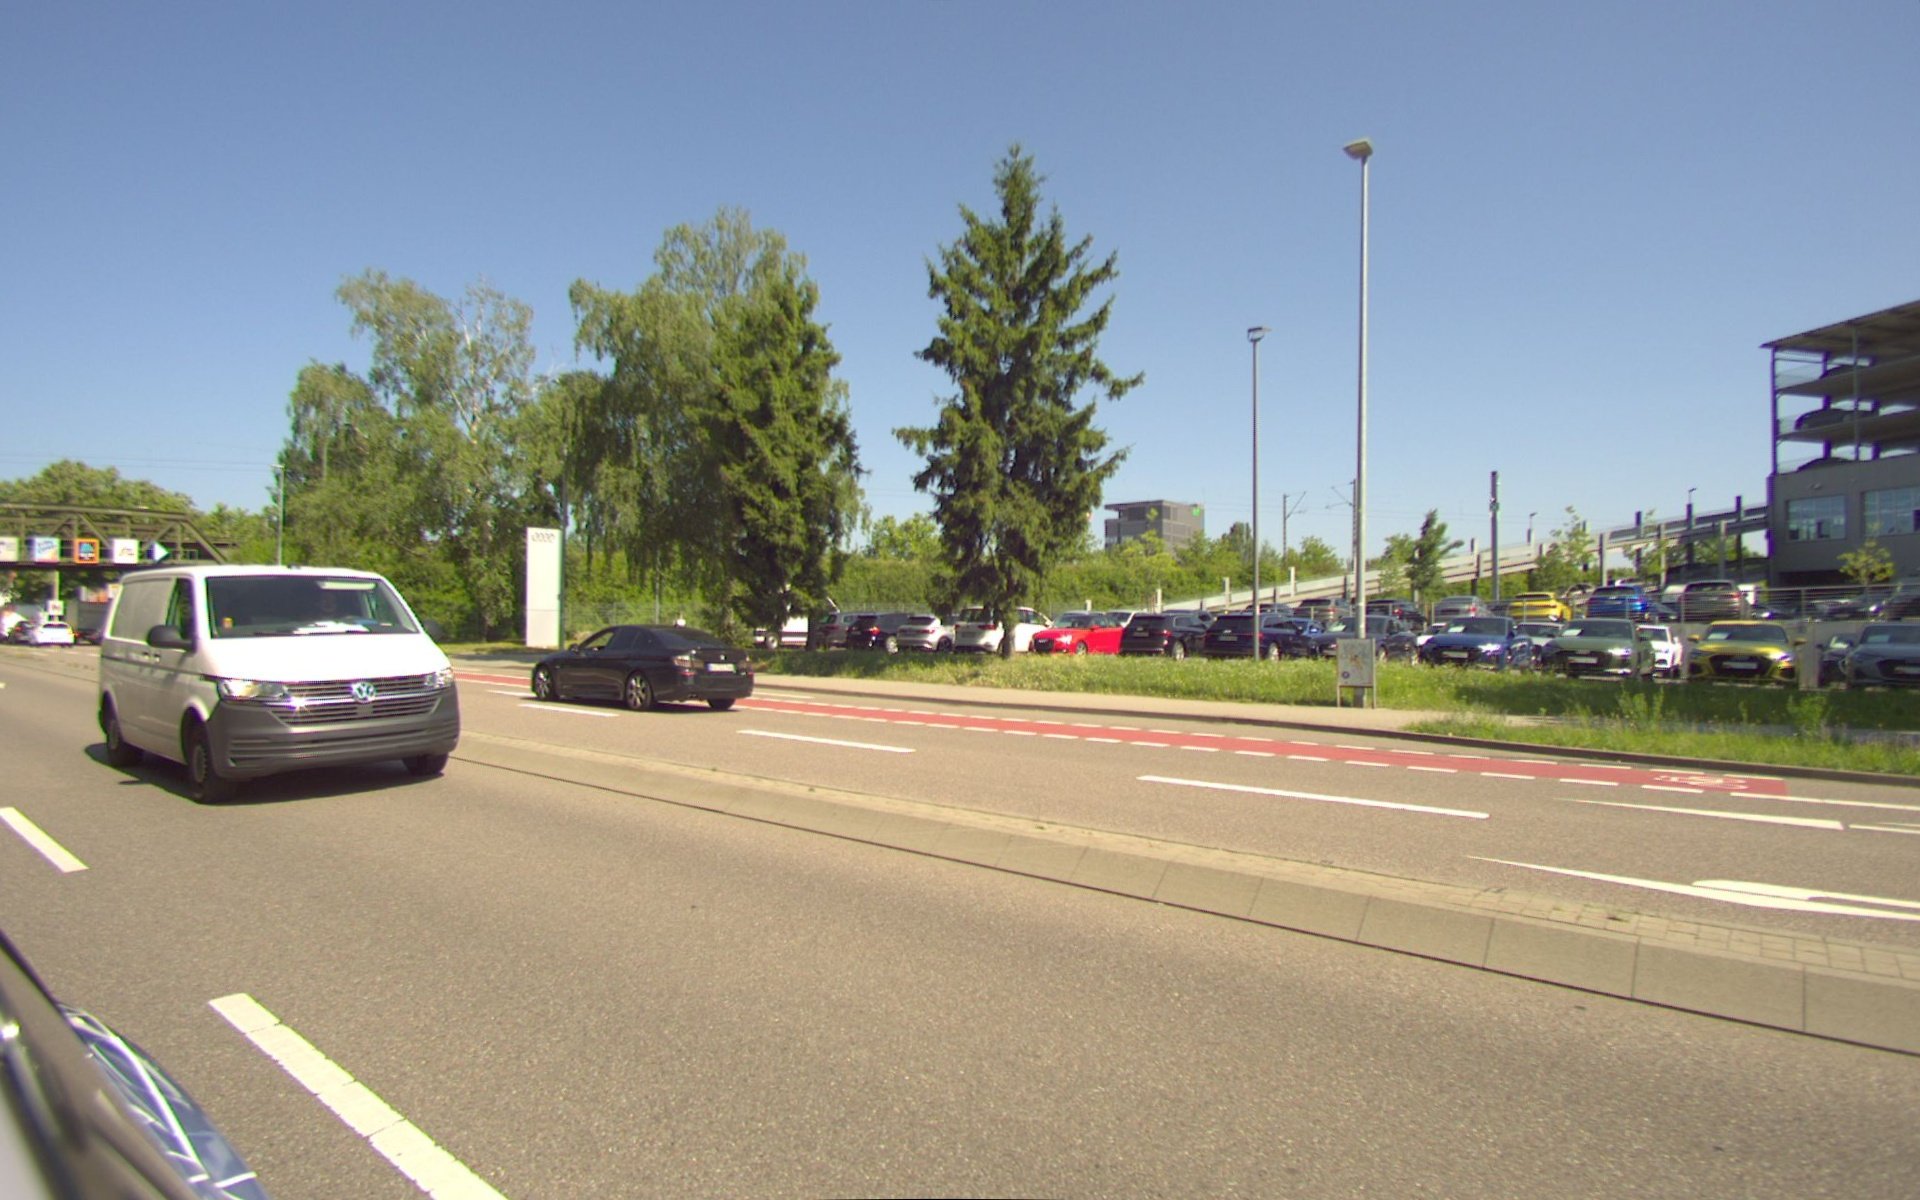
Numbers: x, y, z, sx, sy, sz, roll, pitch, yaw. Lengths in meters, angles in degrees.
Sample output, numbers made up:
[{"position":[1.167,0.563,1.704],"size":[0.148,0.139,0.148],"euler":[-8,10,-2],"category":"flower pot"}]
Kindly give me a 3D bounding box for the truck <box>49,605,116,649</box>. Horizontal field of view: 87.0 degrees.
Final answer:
[{"position":[-64.515,1.996,74.354],"size":[7.059,3.112,2.319],"euler":[-1,-2,38],"category":"truck"}]

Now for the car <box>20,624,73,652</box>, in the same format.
[{"position":[-51.551,2.171,57.100],"size":[3.825,1.506,1.626],"euler":[-3,-5,40],"category":"car"}]

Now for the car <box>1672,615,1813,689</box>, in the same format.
[{"position":[16.256,1.024,20.940],"size":[1.954,1.361,4.219],"euler":[-1,-2,43],"category":"car"}]

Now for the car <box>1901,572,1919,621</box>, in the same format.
[{"position":[29.441,-0.089,30.100],"size":[1.953,1.361,4.221],"euler":[-1,-2,41],"category":"car"}]

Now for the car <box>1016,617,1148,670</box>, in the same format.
[{"position":[3.809,1.303,31.190],"size":[1.954,1.515,4.219],"euler":[-1,-2,43],"category":"car"}]

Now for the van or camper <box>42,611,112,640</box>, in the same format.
[{"position":[-103.233,2.945,118.350],"size":[2.595,3.179,5.712],"euler":[-3,-1,36],"category":"van or camper"}]

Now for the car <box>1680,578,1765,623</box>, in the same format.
[{"position":[25.467,0.065,33.738],"size":[1.953,1.361,4.221],"euler":[-1,-2,41],"category":"car"}]

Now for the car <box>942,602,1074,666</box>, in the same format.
[{"position":[1.593,1.080,32.234],"size":[1.954,1.899,4.219],"euler":[-1,-2,43],"category":"car"}]

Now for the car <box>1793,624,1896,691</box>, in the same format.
[{"position":[23.922,1.488,27.339],"size":[1.954,1.655,4.219],"euler":[-1,-2,43],"category":"car"}]

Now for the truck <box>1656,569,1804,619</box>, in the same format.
[{"position":[48.326,-0.341,63.536],"size":[8.321,2.939,2.673],"euler":[1,-2,-13],"category":"truck"}]

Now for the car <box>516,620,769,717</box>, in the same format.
[{"position":[-5.646,1.129,17.632],"size":[4.997,1.474,1.822],"euler":[-1,-4,41],"category":"car"}]

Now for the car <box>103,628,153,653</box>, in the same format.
[{"position":[-53.764,2.651,65.382],"size":[4.175,1.506,1.750],"euler":[-3,-5,41],"category":"car"}]

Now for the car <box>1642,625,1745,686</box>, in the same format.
[{"position":[21.499,1.569,29.604],"size":[1.954,1.655,4.219],"euler":[-1,-2,43],"category":"car"}]

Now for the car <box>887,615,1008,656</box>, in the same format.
[{"position":[-0.358,1.175,33.726],"size":[1.743,1.303,4.042],"euler":[-1,-2,43],"category":"car"}]

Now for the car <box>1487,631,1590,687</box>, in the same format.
[{"position":[18.489,1.808,32.271],"size":[1.954,1.655,4.219],"euler":[-1,-2,43],"category":"car"}]

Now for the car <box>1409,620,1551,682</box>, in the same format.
[{"position":[12.469,1.169,24.152],"size":[1.954,1.361,4.219],"euler":[-1,-2,43],"category":"car"}]

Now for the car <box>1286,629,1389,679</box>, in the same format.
[{"position":[13.281,1.851,35.516],"size":[1.954,1.655,4.219],"euler":[-1,-2,43],"category":"car"}]

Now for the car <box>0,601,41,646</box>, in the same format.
[{"position":[-63.437,1.616,67.573],"size":[6.930,2.827,1.974],"euler":[-1,-4,39],"category":"car"}]

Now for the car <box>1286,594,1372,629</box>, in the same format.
[{"position":[15.338,0.521,41.931],"size":[1.953,1.361,4.221],"euler":[-1,-2,41],"category":"car"}]

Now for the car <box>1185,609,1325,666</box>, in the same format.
[{"position":[7.973,0.989,27.178],"size":[1.954,1.392,4.219],"euler":[-1,-2,43],"category":"car"}]

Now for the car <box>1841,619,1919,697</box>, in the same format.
[{"position":[18.197,1.064,19.322],"size":[1.954,1.361,4.219],"euler":[-1,-2,43],"category":"car"}]

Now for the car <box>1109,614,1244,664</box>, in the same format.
[{"position":[6.333,1.117,29.353],"size":[1.954,1.338,4.219],"euler":[-1,-2,43],"category":"car"}]

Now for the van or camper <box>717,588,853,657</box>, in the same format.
[{"position":[-6.845,0.840,40.146],"size":[1.997,2.489,5.327],"euler":[-3,-1,38],"category":"van or camper"}]

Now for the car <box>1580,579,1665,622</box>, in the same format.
[{"position":[23.396,0.063,35.687],"size":[1.953,1.361,4.221],"euler":[-1,-2,41],"category":"car"}]

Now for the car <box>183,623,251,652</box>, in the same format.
[{"position":[-38.472,1.933,52.374],"size":[4.680,1.424,1.972],"euler":[-1,-2,43],"category":"car"}]

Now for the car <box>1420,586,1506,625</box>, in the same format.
[{"position":[19.252,0.243,38.647],"size":[1.953,1.361,4.221],"euler":[-1,-2,41],"category":"car"}]

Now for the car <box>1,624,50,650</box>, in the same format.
[{"position":[-57.756,2.332,62.519],"size":[4.175,1.506,1.750],"euler":[-3,-5,41],"category":"car"}]

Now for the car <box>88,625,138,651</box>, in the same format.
[{"position":[-58.600,2.636,70.001],"size":[4.285,1.703,1.963],"euler":[-3,-5,41],"category":"car"}]

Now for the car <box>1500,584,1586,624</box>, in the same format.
[{"position":[21.504,0.192,37.258],"size":[1.953,1.361,4.221],"euler":[-1,-2,41],"category":"car"}]

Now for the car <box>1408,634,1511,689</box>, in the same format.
[{"position":[16.485,1.960,33.308],"size":[1.954,1.655,4.219],"euler":[-1,-2,43],"category":"car"}]

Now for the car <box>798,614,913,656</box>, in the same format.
[{"position":[-3.825,1.281,37.484],"size":[4.039,1.449,1.745],"euler":[2,-2,-44],"category":"car"}]

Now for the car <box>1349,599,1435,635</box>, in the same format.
[{"position":[17.289,0.708,40.454],"size":[1.953,1.361,4.221],"euler":[-1,-2,41],"category":"car"}]

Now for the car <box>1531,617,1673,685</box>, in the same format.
[{"position":[14.305,1.078,22.449],"size":[1.954,1.361,4.219],"euler":[-1,-2,43],"category":"car"}]

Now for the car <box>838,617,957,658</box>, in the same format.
[{"position":[-2.172,1.302,35.772],"size":[4.039,1.364,1.745],"euler":[2,-2,-44],"category":"car"}]

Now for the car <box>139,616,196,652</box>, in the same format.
[{"position":[-46.520,1.980,59.393],"size":[1.970,2.029,5.349],"euler":[3,-3,-45],"category":"car"}]

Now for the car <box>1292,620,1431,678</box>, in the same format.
[{"position":[10.343,1.208,25.929],"size":[1.954,1.361,4.219],"euler":[-1,-2,43],"category":"car"}]

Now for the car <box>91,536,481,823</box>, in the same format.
[{"position":[-6.484,0.628,9.462],"size":[4.973,2.009,1.861],"euler":[-2,-3,42],"category":"car"}]
